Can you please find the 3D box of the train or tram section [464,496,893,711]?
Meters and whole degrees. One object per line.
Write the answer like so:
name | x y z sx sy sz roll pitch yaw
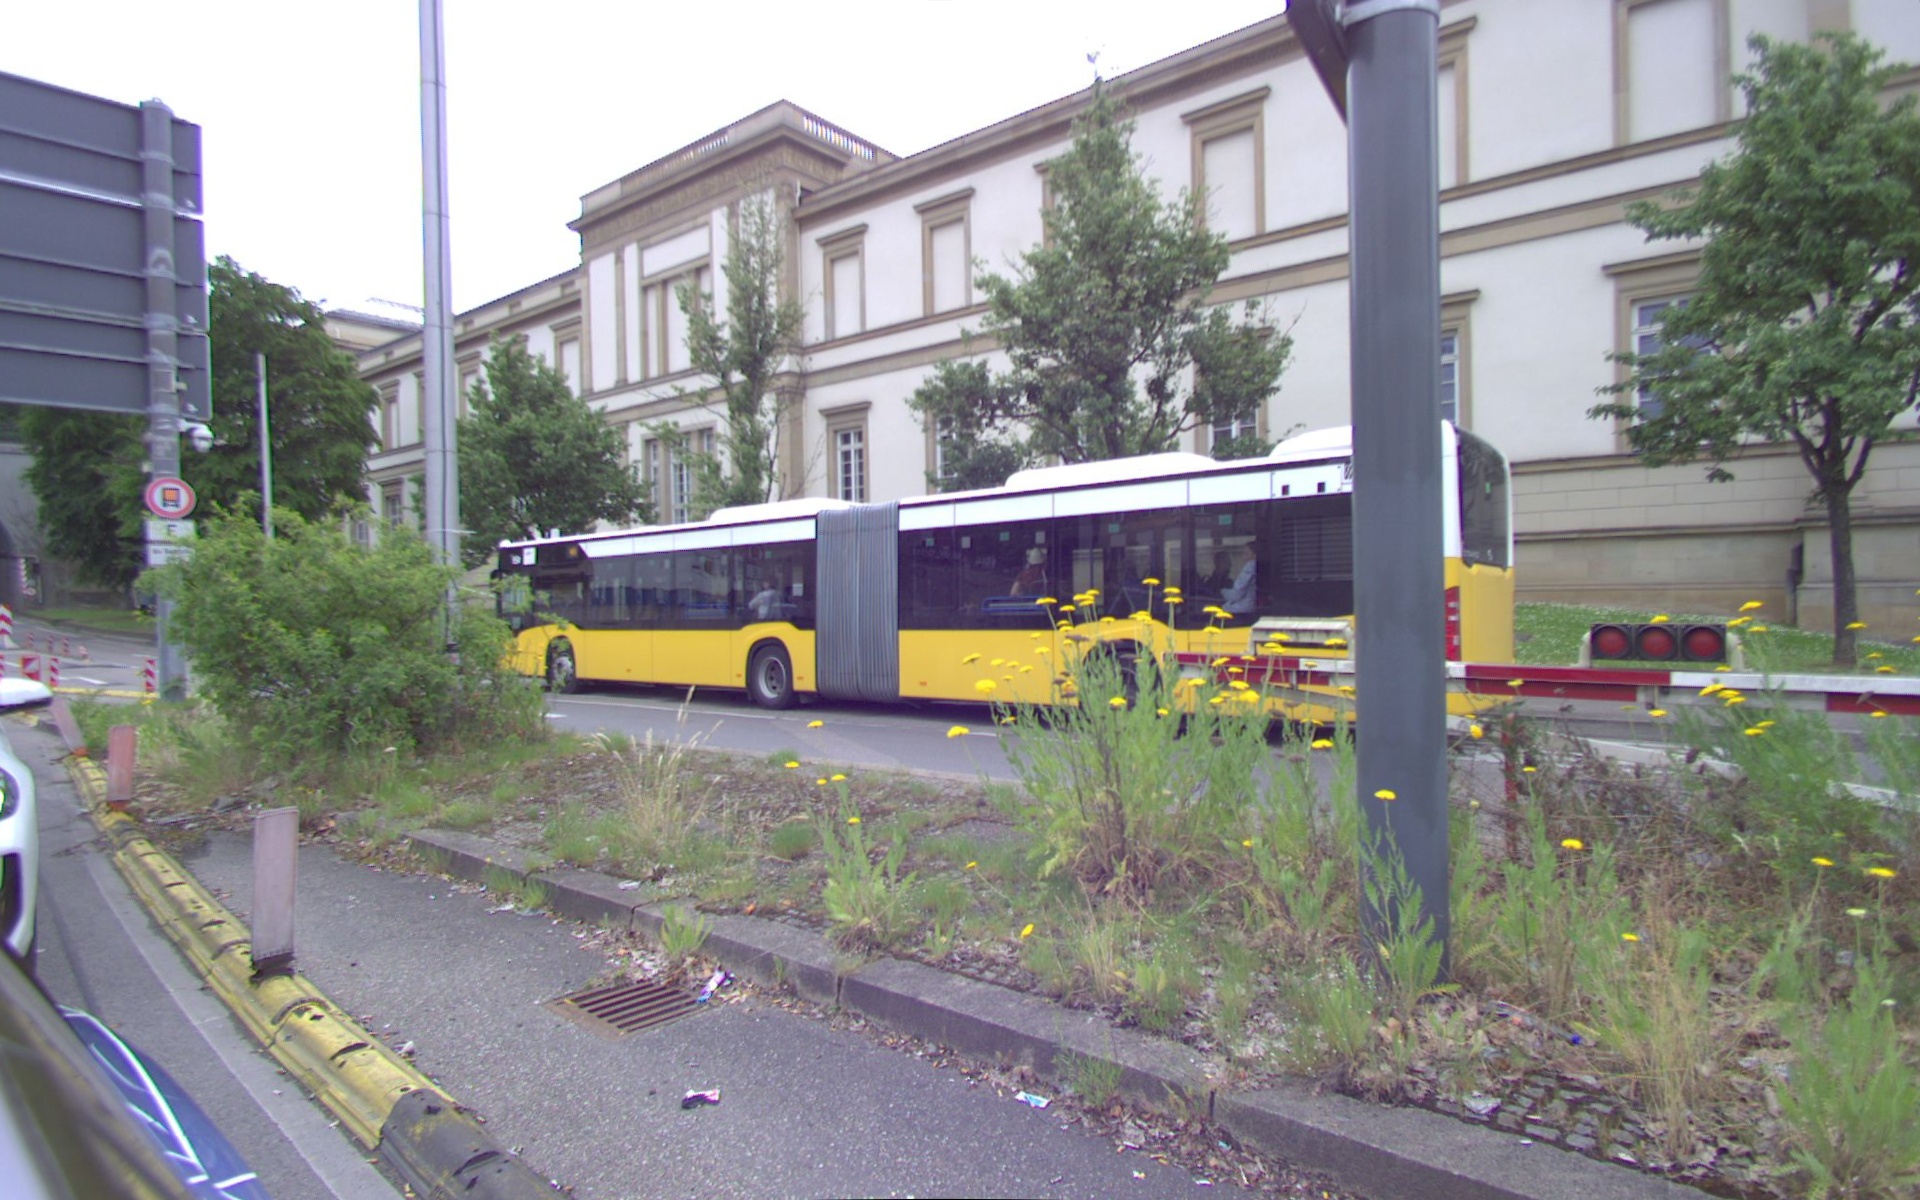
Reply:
train or tram section | -5.576 0.162 18.589 9.366 3.094 2.667 -2 -2 39

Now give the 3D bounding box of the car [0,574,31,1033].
car | -5.243 0.720 4.207 3.911 1.568 1.733 -1 0 43

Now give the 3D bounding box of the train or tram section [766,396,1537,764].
train or tram section | 1.590 -0.061 12.572 9.330 3.094 2.666 -2 -2 41
